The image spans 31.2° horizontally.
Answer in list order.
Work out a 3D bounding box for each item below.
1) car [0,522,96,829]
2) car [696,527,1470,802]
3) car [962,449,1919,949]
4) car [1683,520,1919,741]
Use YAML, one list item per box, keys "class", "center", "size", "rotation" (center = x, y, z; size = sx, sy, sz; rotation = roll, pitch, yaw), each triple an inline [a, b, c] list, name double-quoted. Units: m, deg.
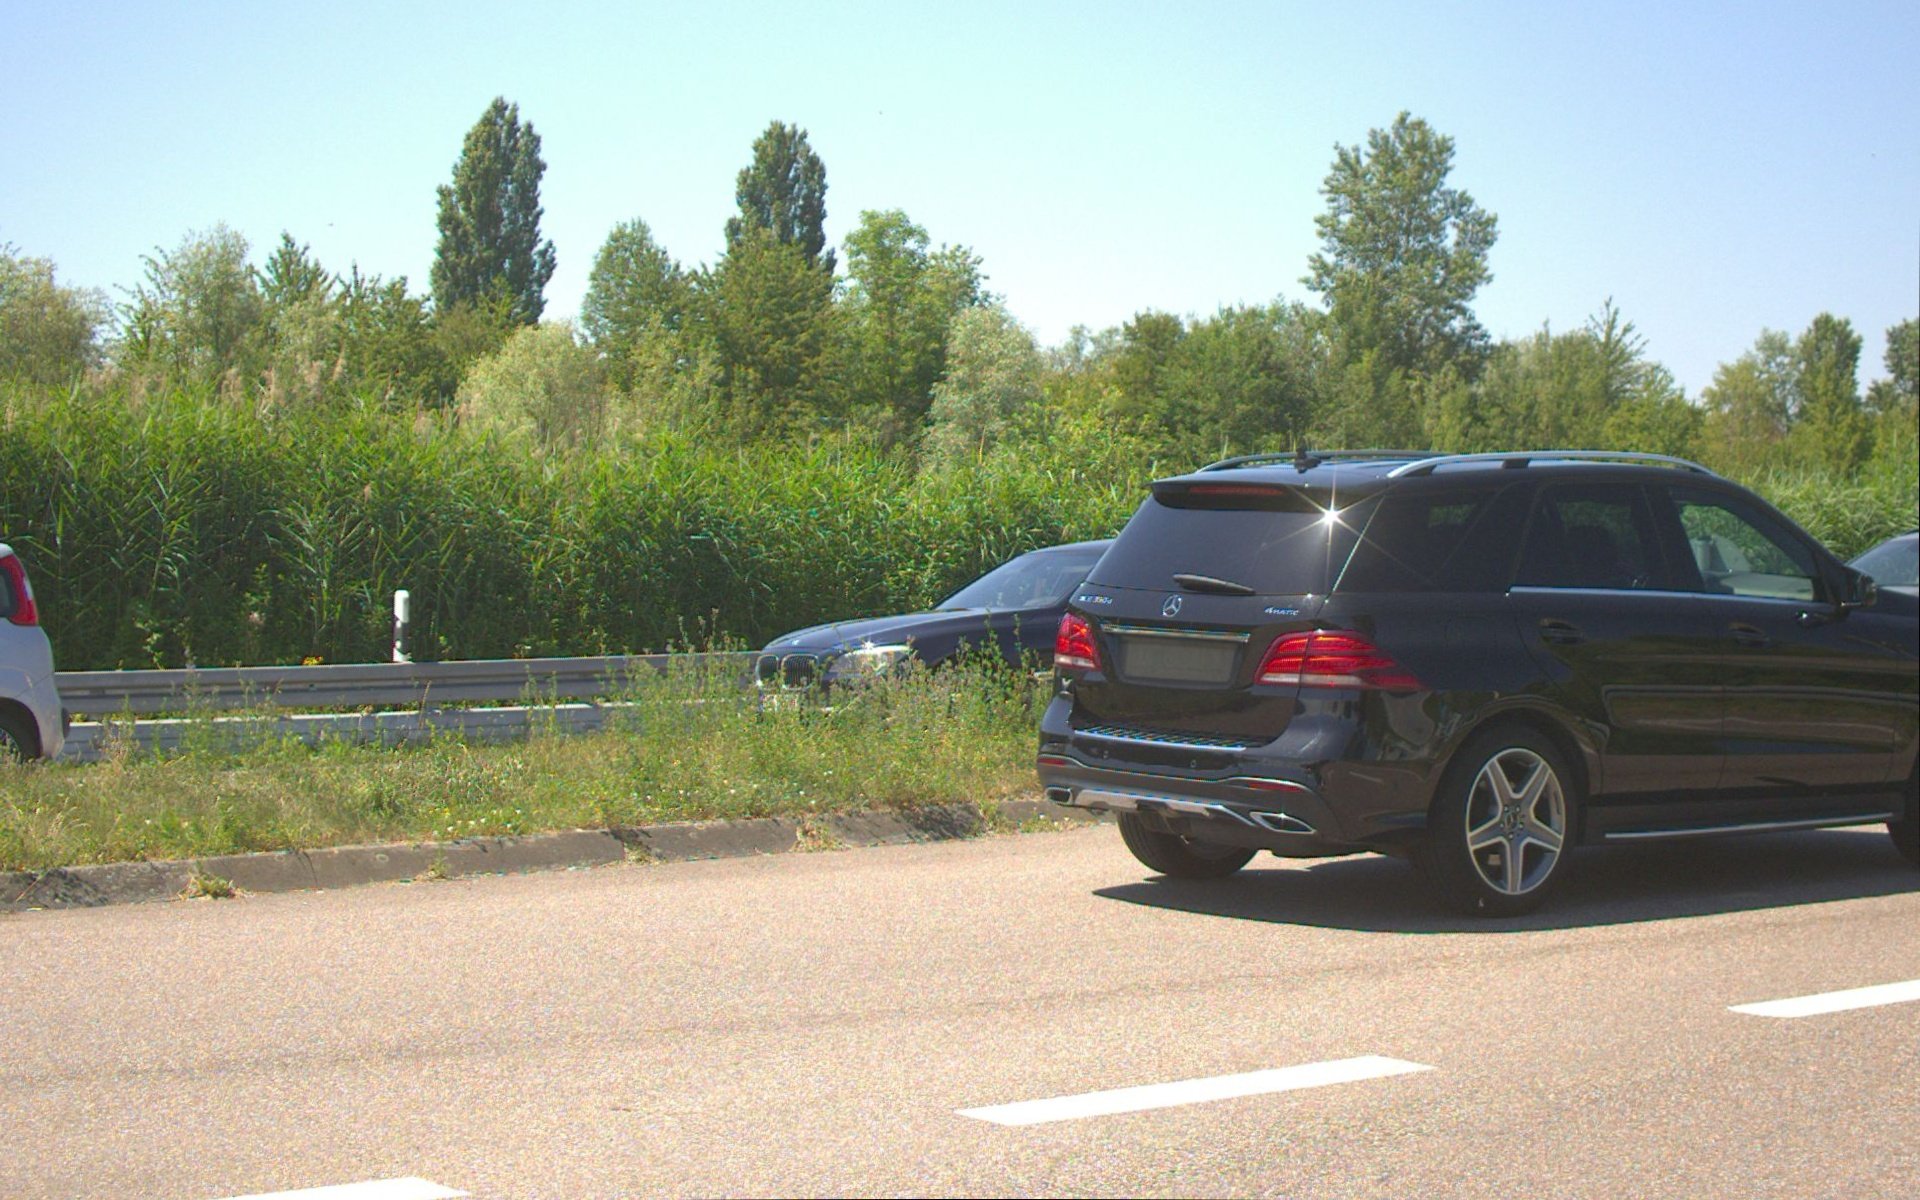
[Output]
- class: "car"
  center: [-6.696, 0.426, 18.245]
  size: [3.707, 1.626, 1.734]
  rotation: [-2, 1, -33]
- class: "car"
  center: [0.878, 0.357, 23.088]
  size: [4.925, 1.626, 1.934]
  rotation: [-2, 1, -31]
- class: "car"
  center: [2.409, 0.314, 14.287]
  size: [4.584, 1.761, 1.933]
  rotation: [-1, 1, -38]
- class: "car"
  center: [7.983, 0.172, 27.268]
  size: [4.225, 1.626, 1.934]
  rotation: [-2, 1, -32]
